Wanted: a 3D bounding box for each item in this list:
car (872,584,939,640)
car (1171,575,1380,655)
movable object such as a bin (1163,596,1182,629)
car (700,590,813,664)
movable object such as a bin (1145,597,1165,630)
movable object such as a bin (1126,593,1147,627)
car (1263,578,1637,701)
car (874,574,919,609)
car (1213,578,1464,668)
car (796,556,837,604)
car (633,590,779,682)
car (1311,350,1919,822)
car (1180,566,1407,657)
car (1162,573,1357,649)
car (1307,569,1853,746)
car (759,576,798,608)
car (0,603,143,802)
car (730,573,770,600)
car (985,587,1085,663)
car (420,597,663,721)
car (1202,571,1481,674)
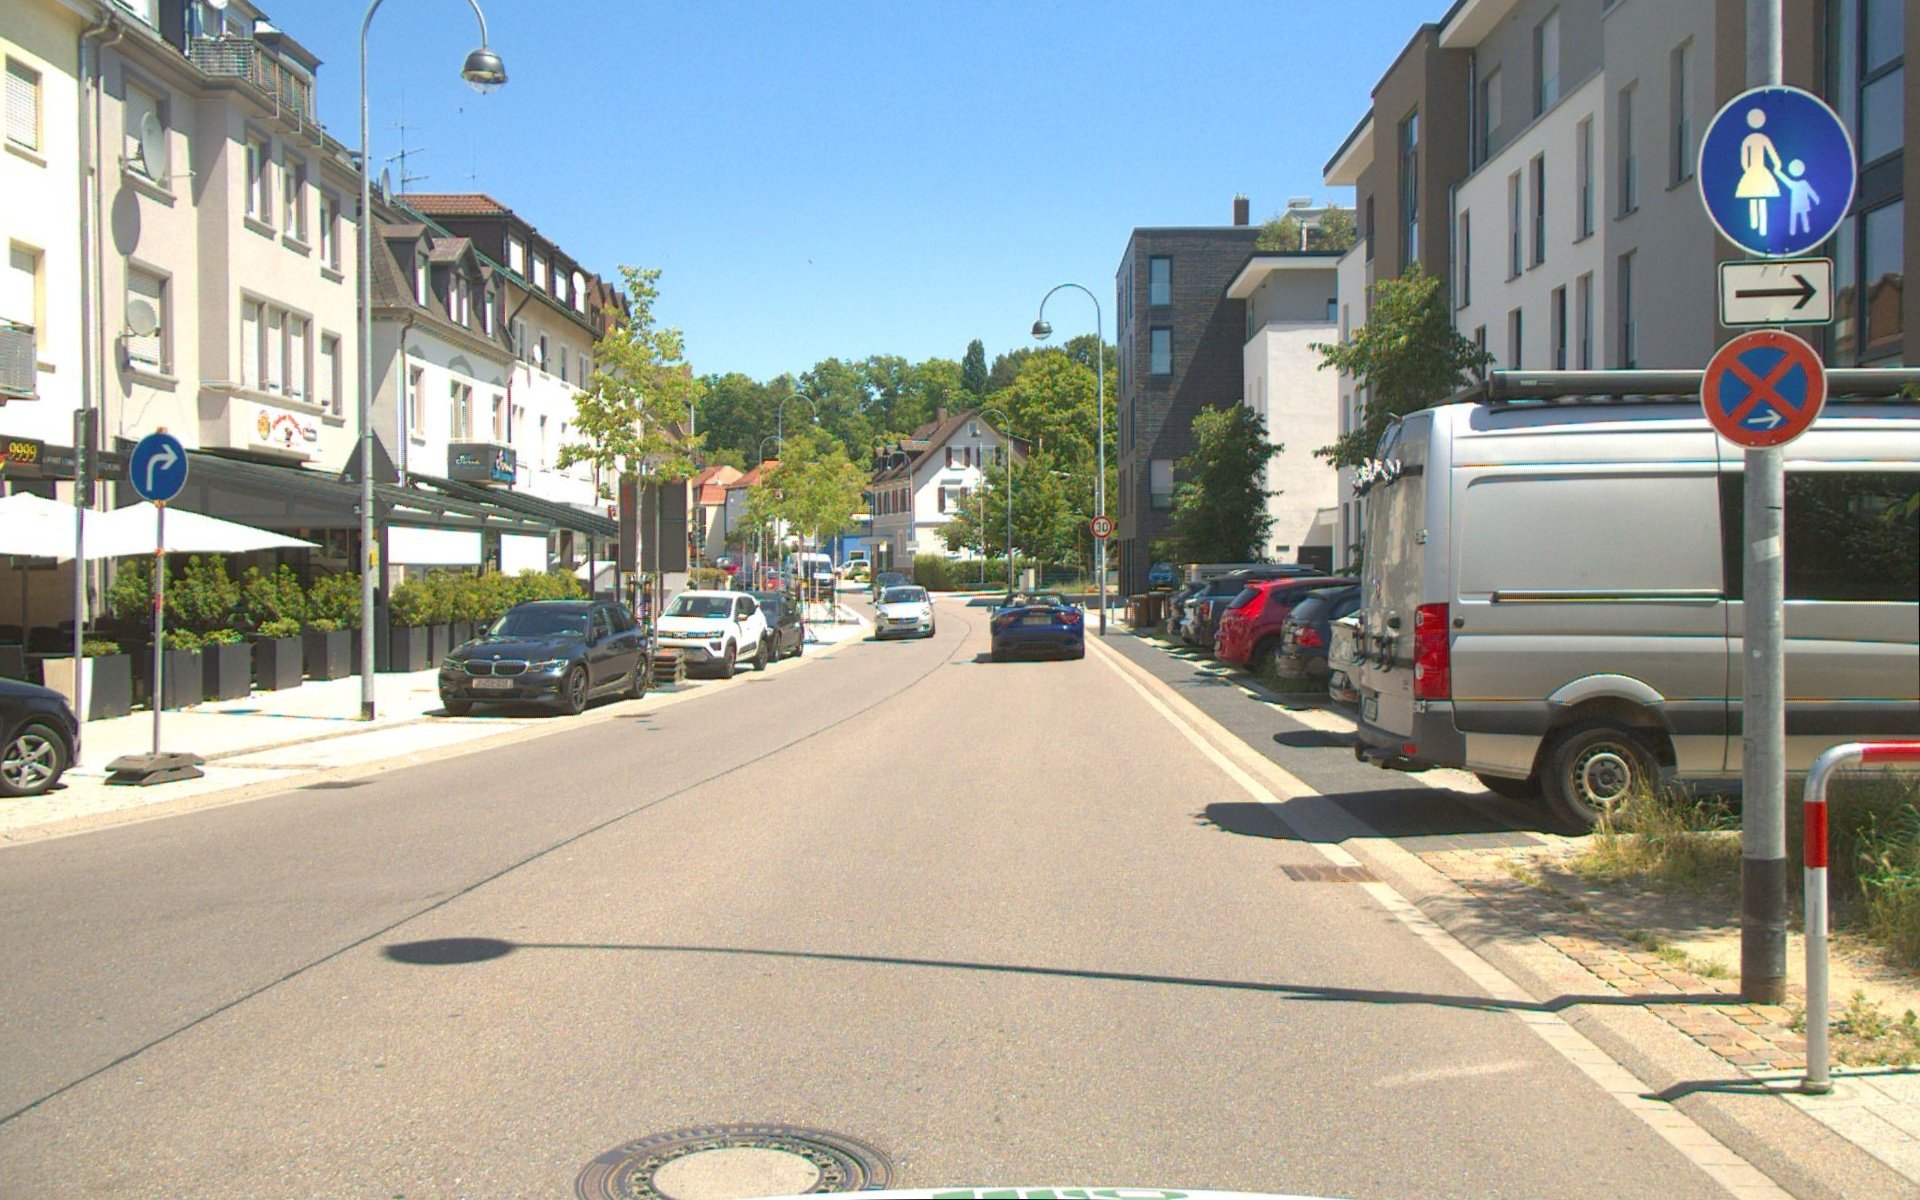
[{"bbox_3d":[-1.536,0.308,48.105,1.652,1.483,4.059,-2,1,2],"label":"car"},{"bbox_3d":[6.336,0.292,33.534,3.898,1.556,1.943,-1,0,1],"label":"car"},{"bbox_3d":[6.218,0.359,48.378,0.484,0.945,0.623,-2,0,3],"label":"movable object such as a bin"},{"bbox_3d":[-4.370,0.553,36.098,1.635,1.469,4.012,-1,1,5],"label":"car"},{"bbox_3d":[5.705,0.383,48.396,0.484,0.945,0.623,-2,0,3],"label":"movable object such as a bin"},{"bbox_3d":[5.170,0.290,48.434,0.525,0.945,0.623,-2,0,3],"label":"movable object such as a bin"},{"bbox_3d":[6.114,0.473,21.005,4.171,1.441,1.928,-1,0,-1],"label":"car"},{"bbox_3d":[-3.159,-0.404,82.102,1.631,1.634,3.990,-2,1,-10],"label":"car"},{"bbox_3d":[6.397,0.374,28.271,3.898,1.457,1.763,-1,0,1],"label":"car"},{"bbox_3d":[-7.567,-1.058,86.889,1.832,2.442,4.809,-1,1,-9],"label":"car"},{"bbox_3d":[-4.599,0.605,30.487,1.610,1.505,3.944,1,1,7],"label":"car"},{"bbox_3d":[5.441,-0.093,10.902,5.816,2.780,2.197,-1,0,2],"label":"car"},{"bbox_3d":[6.195,0.205,31.051,3.898,1.633,1.943,-1,0,1],"label":"car"},{"bbox_3d":[6.375,0.231,35.536,3.898,1.556,1.741,-1,0,1],"label":"car"},{"bbox_3d":[5.753,0.512,15.821,4.492,1.556,2.001,-1,0,3],"label":"car"},{"bbox_3d":[-10.518,-0.448,95.665,1.958,1.769,3.989,-1,0,-11],"label":"car"},{"bbox_3d":[-8.276,0.776,12.316,1.676,1.486,4.133,2,0,12],"label":"car"},{"bbox_3d":[-13.679,-0.902,107.609,1.962,1.722,3.981,0,1,-17],"label":"car"},{"bbox_3d":[1.609,0.467,33.972,1.831,1.365,4.599,-2,1,5],"label":"car"},{"bbox_3d":[-5.670,0.727,23.074,1.795,1.454,4.786,1,1,5],"label":"car"},{"bbox_3d":[5.836,0.332,25.662,3.888,1.433,1.857,-2,0,1],"label":"car"}]
